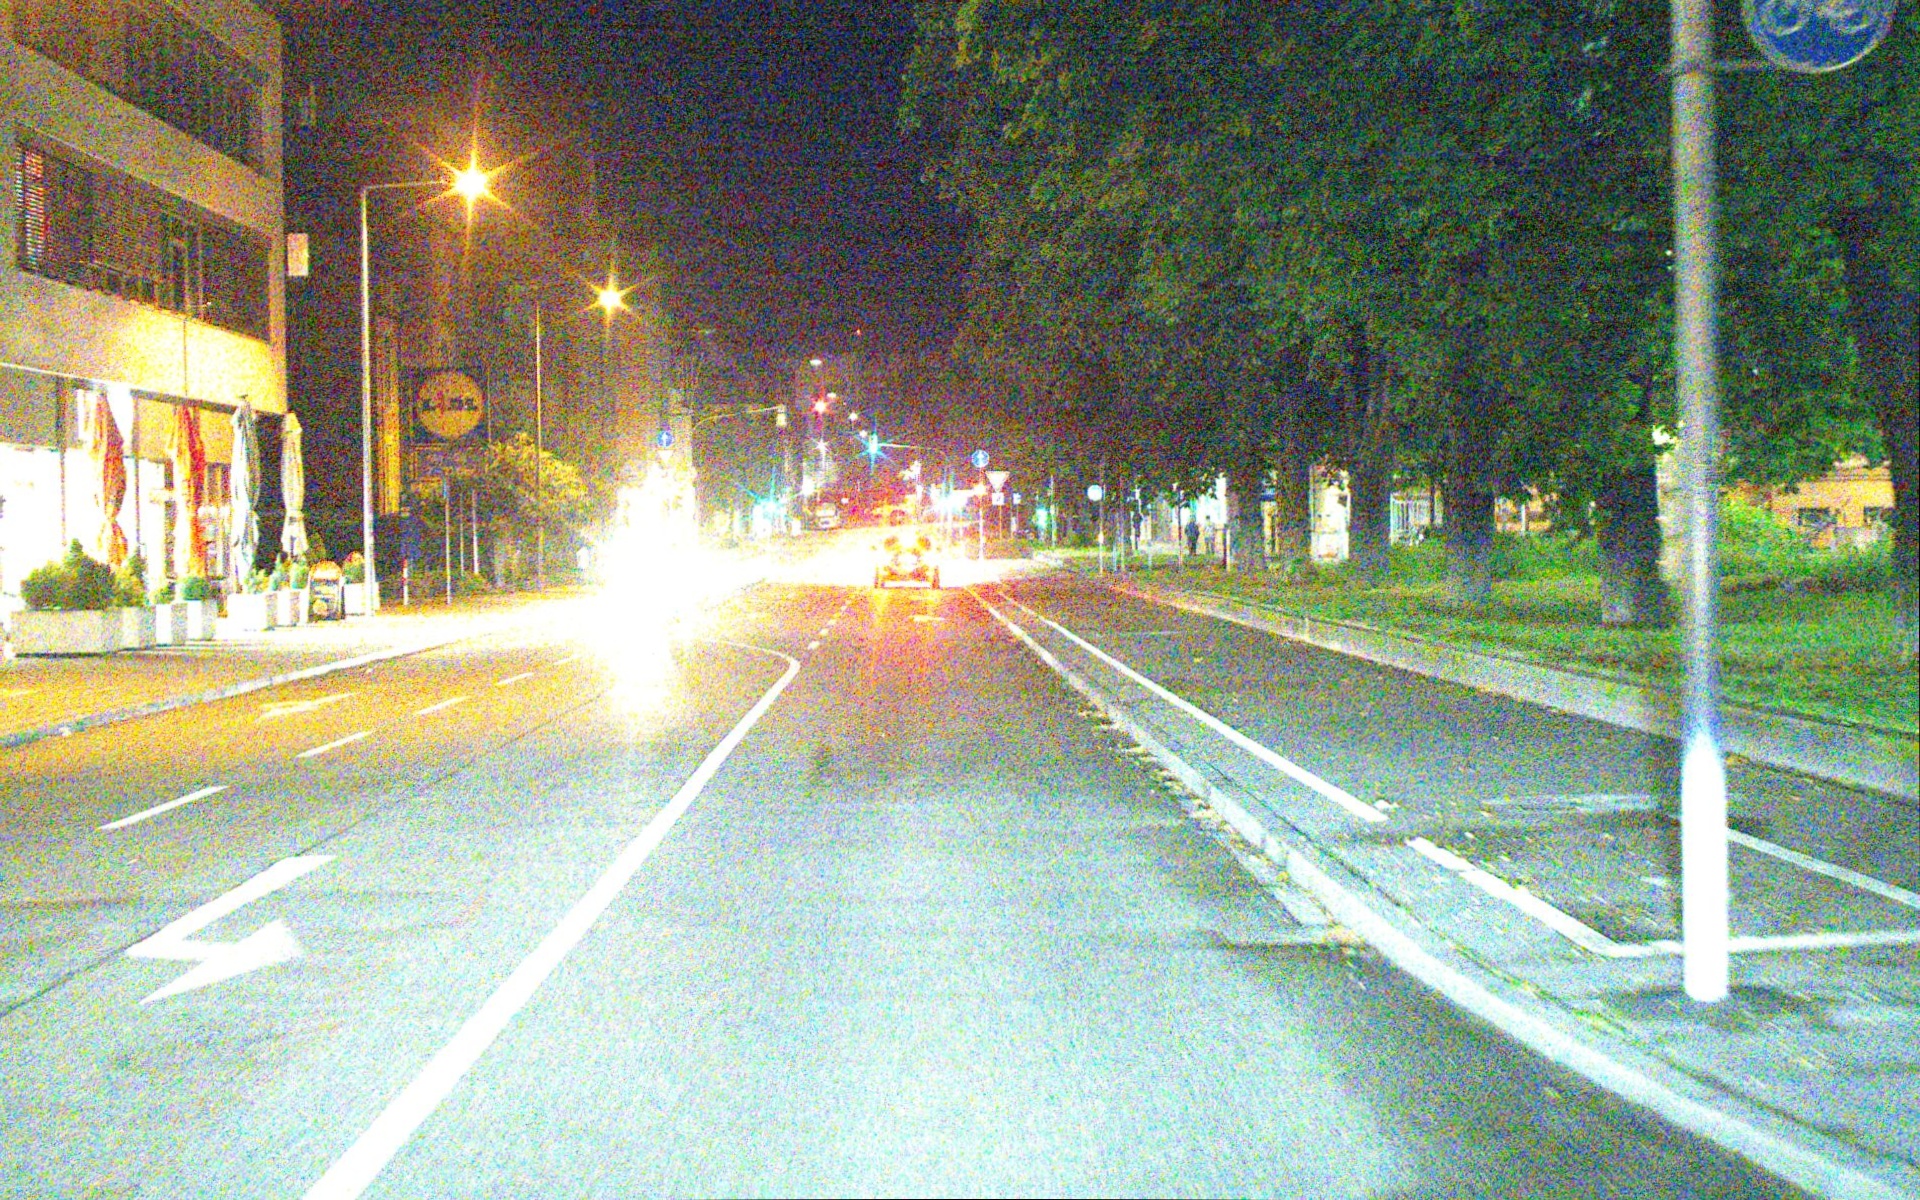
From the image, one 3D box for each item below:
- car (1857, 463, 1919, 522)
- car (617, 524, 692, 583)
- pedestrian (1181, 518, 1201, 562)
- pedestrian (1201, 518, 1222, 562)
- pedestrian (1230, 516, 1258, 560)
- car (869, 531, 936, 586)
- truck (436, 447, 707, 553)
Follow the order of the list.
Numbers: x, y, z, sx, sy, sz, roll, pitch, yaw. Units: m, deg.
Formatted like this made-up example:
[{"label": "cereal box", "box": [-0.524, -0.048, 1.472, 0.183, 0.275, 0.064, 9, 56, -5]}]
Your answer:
[{"label": "car", "box": [25.065, -2.829, 90.478, 1.768, 1.528, 4.099, -1, 1, -1]}, {"label": "car", "box": [-7.985, -1.232, 90.033, 1.667, 1.423, 4.001, -3, 1, -2]}, {"label": "pedestrian", "box": [9.358, -2.423, 139.310, 0.714, 1.763, 0.907, -2, 1, -1]}, {"label": "pedestrian", "box": [10.205, -2.422, 139.381, 0.738, 1.763, 0.907, -2, 1, -1]}, {"label": "pedestrian", "box": [11.531, -2.531, 139.704, 0.900, 1.763, 0.907, -2, 1, -9]}, {"label": "car", "box": [-1.614, -1.202, 97.760, 1.805, 1.489, 4.730, 1, 1, 0]}, {"label": "truck", "box": [-15.104, -3.894, 133.530, 10.077, 3.705, 2.765, -3, 1, -12]}]
